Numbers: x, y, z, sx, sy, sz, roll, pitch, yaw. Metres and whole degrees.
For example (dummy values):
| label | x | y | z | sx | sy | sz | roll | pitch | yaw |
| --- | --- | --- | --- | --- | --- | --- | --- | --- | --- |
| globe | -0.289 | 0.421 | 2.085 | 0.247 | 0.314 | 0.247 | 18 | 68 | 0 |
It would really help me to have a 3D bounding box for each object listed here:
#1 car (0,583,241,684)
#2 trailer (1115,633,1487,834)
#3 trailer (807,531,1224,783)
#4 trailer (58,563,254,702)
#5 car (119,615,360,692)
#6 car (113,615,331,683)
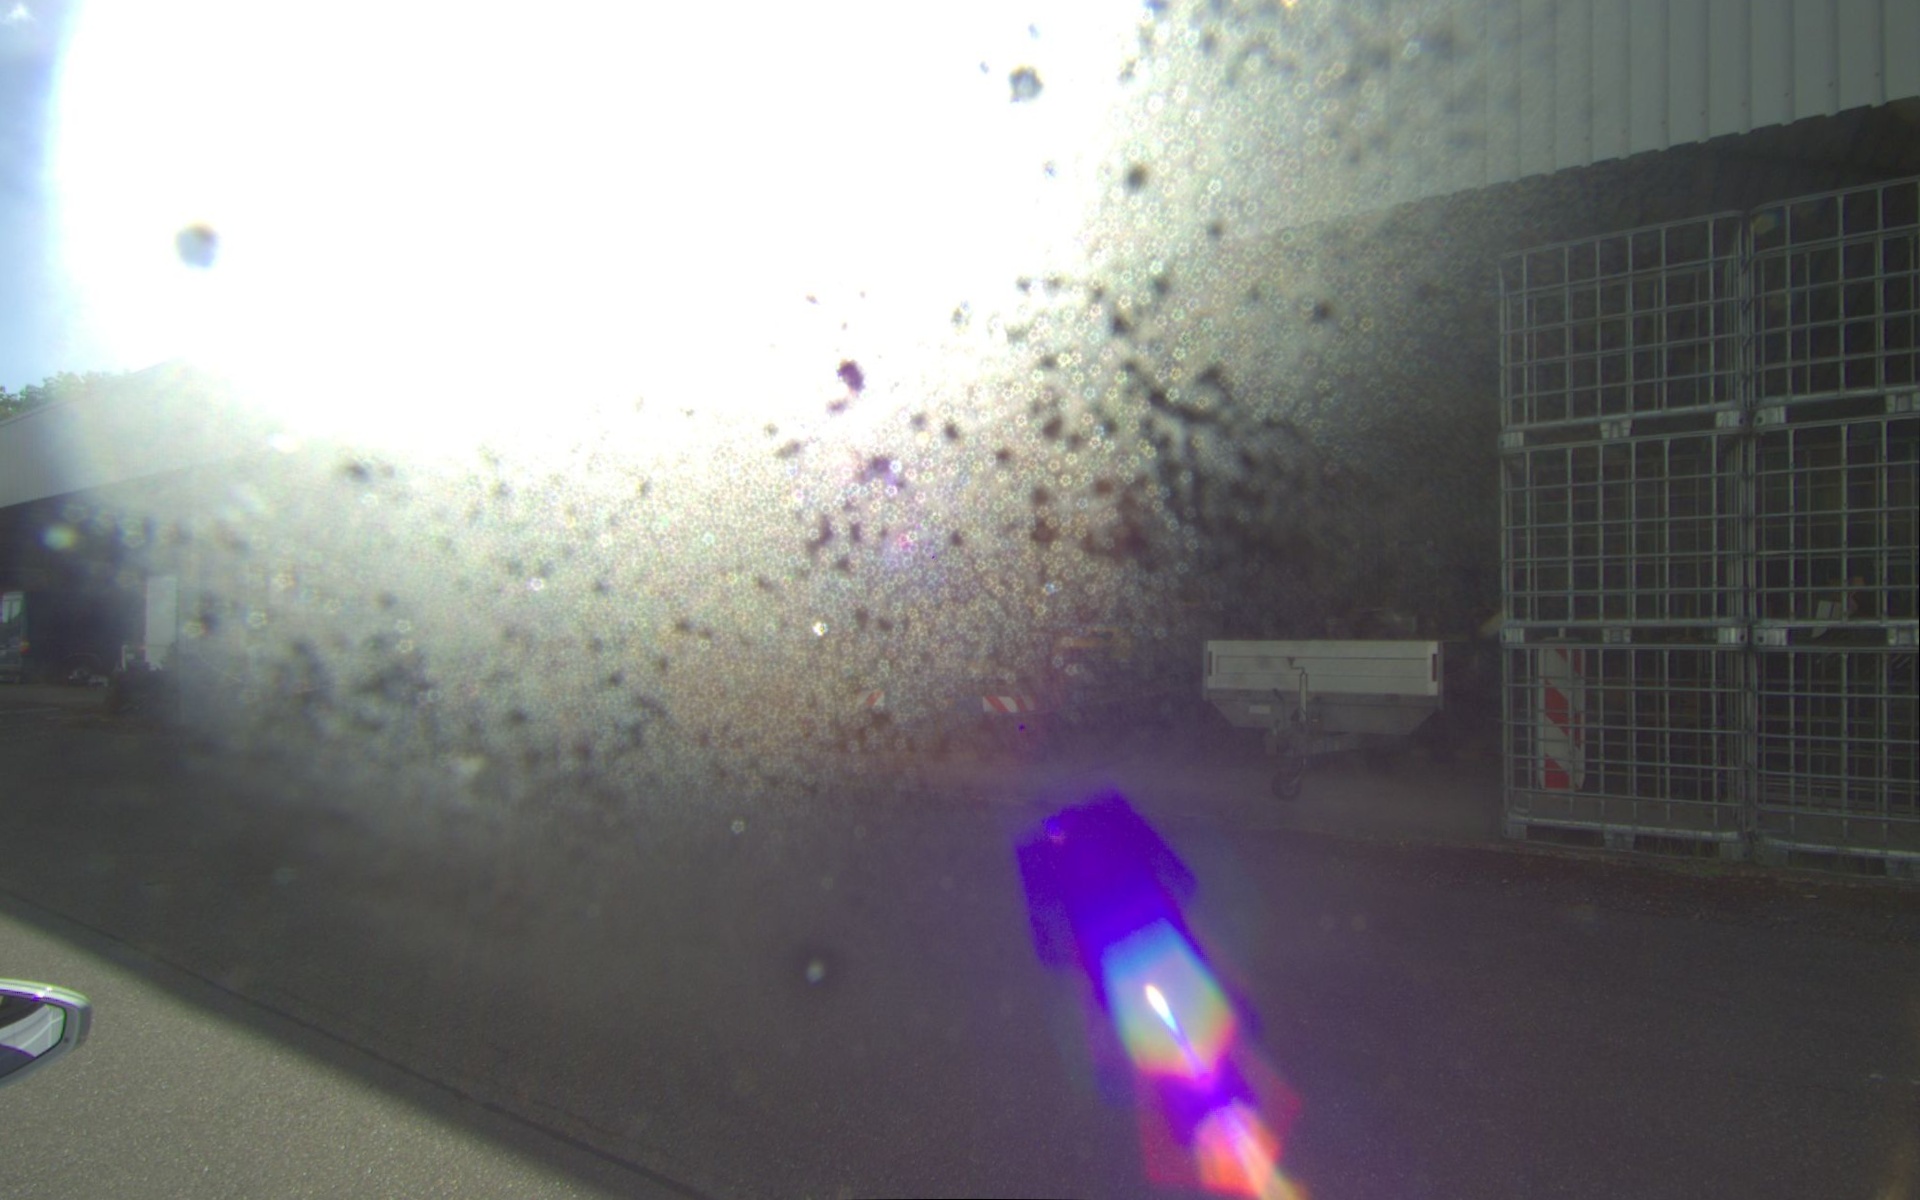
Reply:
| label | x | y | z | sx | sy | sz | roll | pitch | yaw |
| --- | --- | --- | --- | --- | --- | --- | --- | --- | --- |
| car | -21.382 | 0.935 | 25.644 | 1.890 | 2.337 | 4.425 | -3 | -4 | 33 |
| trailer | 3.493 | 0.915 | 9.180 | 2.110 | 1.148 | 5.840 | -1 | -1 | 30 |
| trailer | 1.001 | 0.522 | 11.161 | 2.049 | 2.058 | 5.753 | -1 | -1 | 33 |
| trailer | -15.274 | 0.629 | 19.099 | 1.703 | 2.429 | 2.518 | -2 | -2 | 33 |
| car | -15.890 | 1.224 | 22.299 | 1.662 | 1.543 | 4.031 | -3 | -5 | 33 |
| car | -18.229 | 1.251 | 24.915 | 1.662 | 1.543 | 4.031 | -3 | -5 | 33 |
